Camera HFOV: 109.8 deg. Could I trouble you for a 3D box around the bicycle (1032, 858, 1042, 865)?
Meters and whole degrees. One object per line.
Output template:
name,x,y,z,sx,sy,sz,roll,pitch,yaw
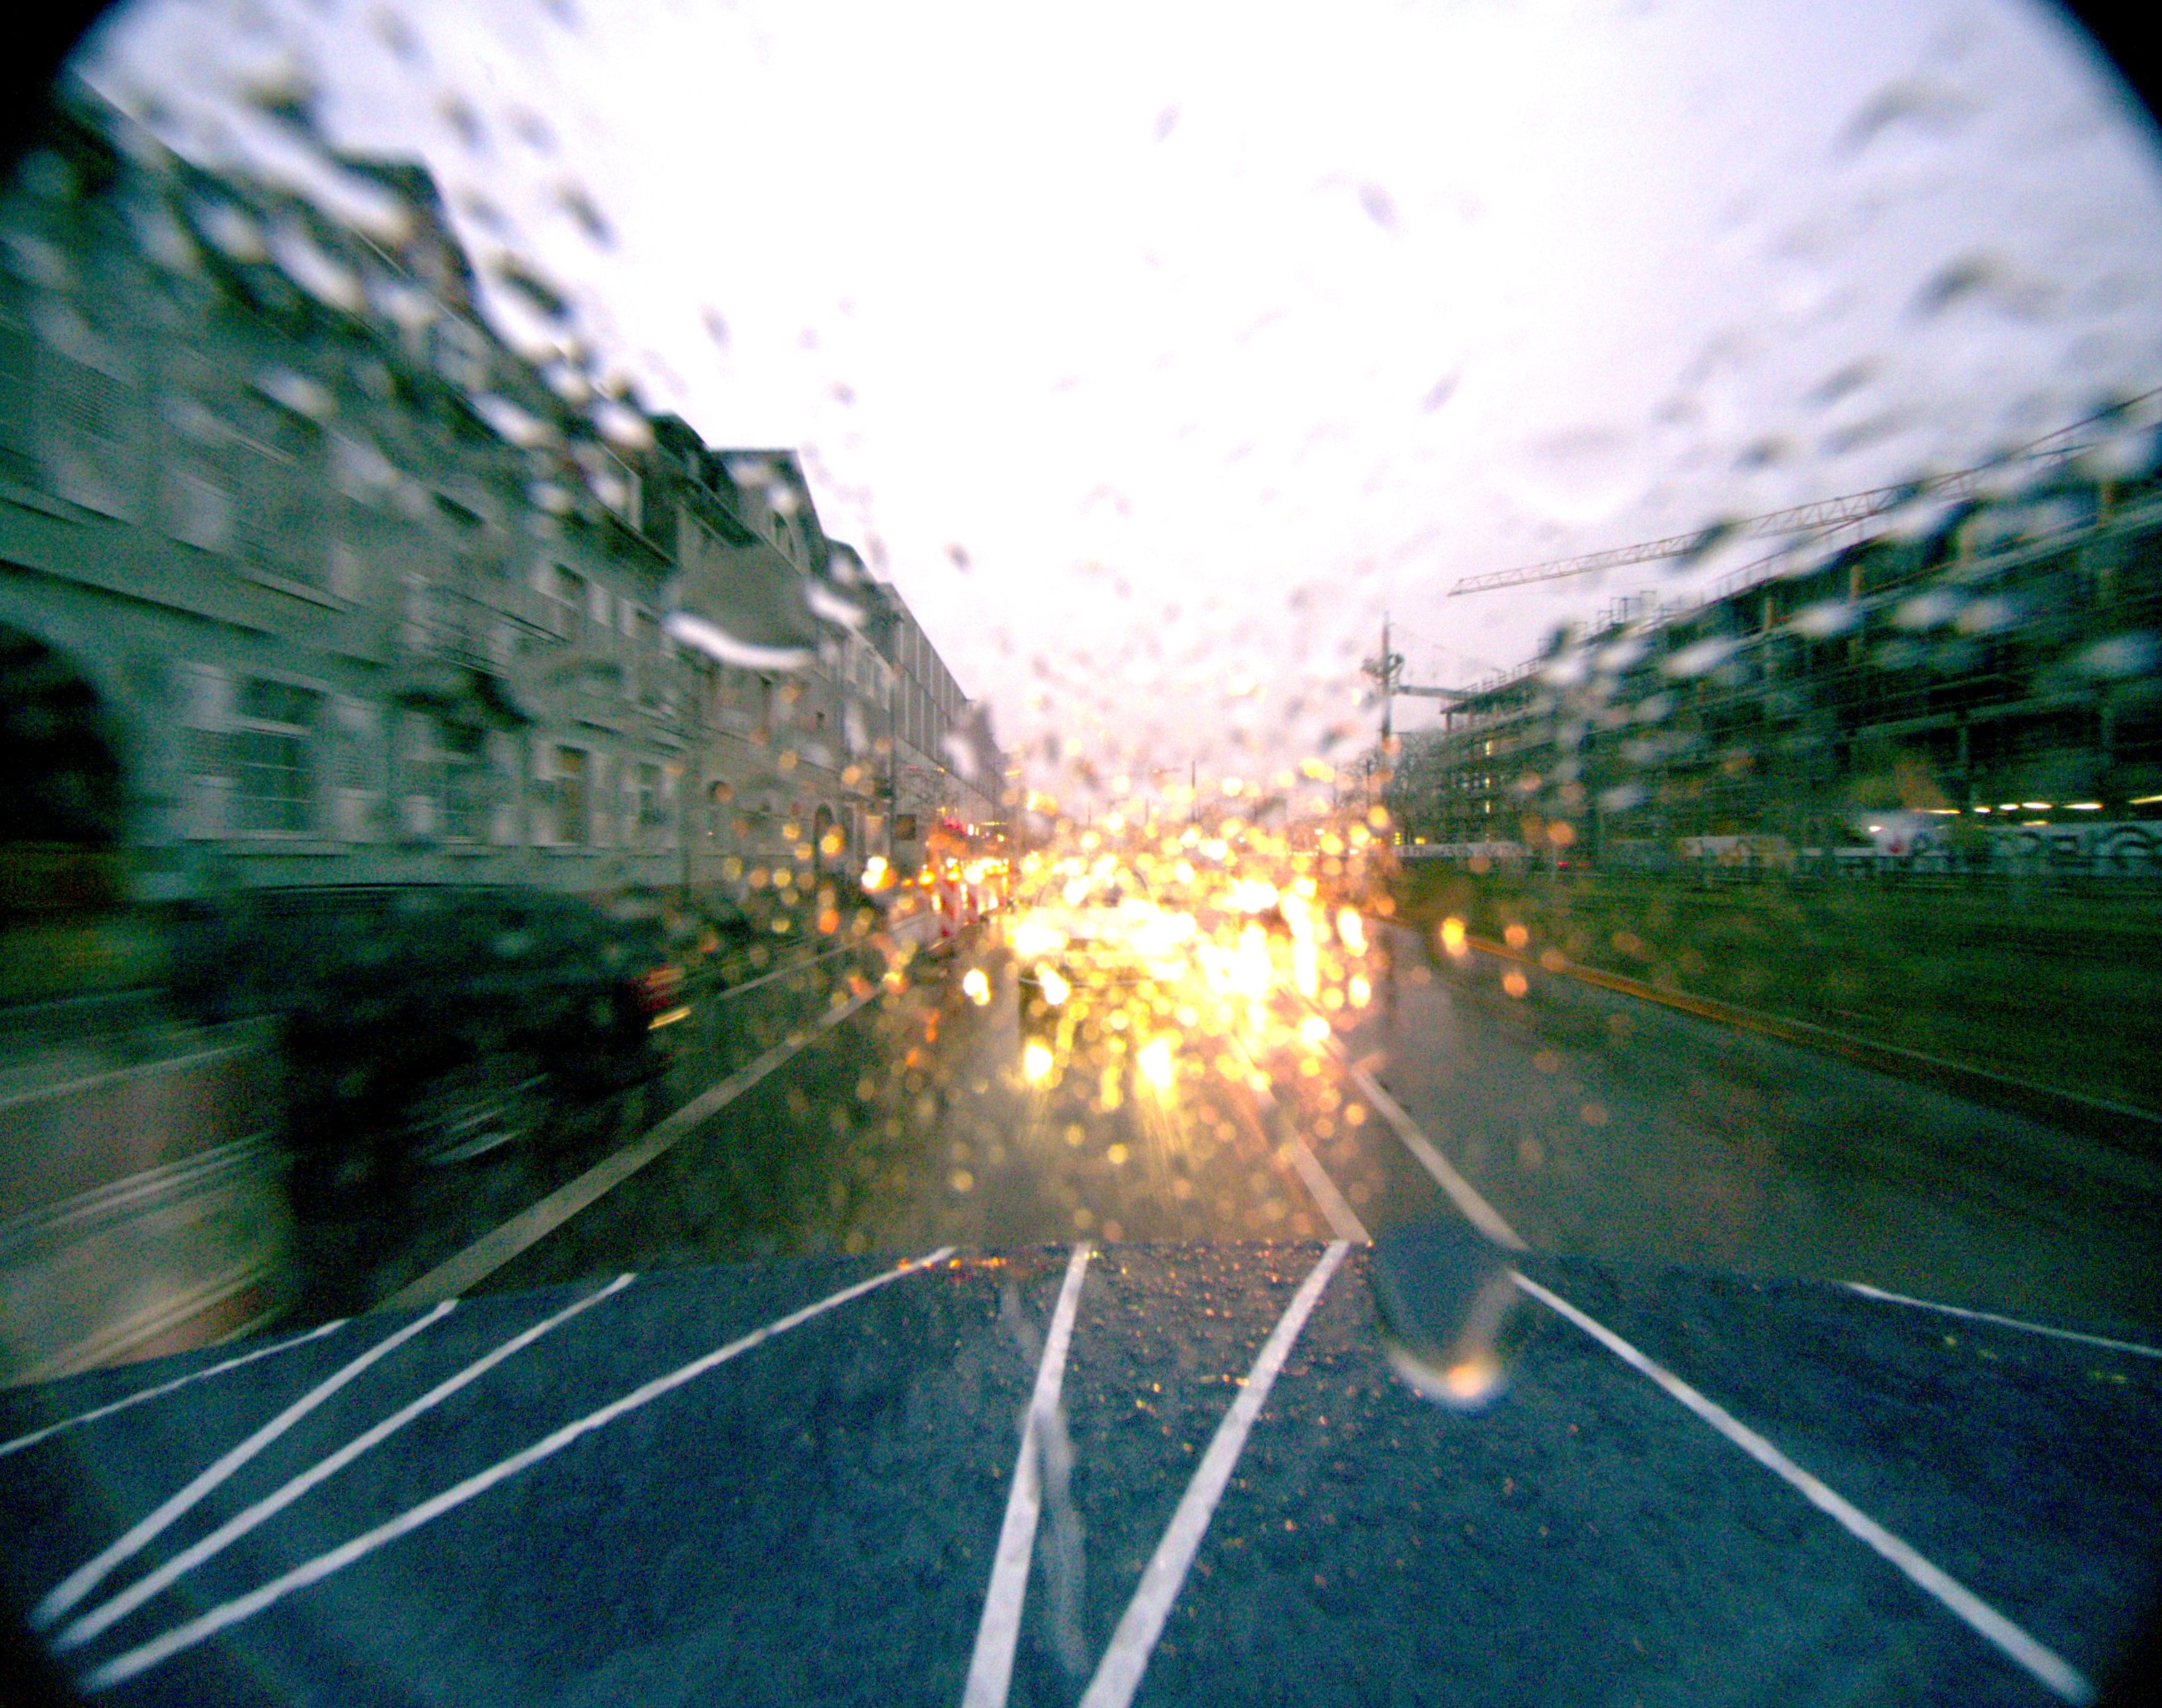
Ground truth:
bicycle,-7.999,1.383,137.841,1.908,1.168,0.666,1,0,-1

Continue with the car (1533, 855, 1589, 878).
car,35.184,0.922,55.780,1.758,1.652,3.764,-1,-1,1

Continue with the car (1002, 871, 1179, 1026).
car,0.136,1.040,10.008,1.814,1.464,4.139,-2,0,1

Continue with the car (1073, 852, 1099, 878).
car,0.376,0.826,57.745,1.865,1.867,4.000,-2,0,0

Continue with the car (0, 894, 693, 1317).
car,-4.565,1.113,4.101,4.102,1.509,1.903,-2,0,-37

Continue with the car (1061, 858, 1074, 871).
car,-1.954,1.491,109.460,1.868,1.652,3.986,-1,0,-1

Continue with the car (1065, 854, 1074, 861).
car,-2.754,0.875,182.352,1.868,1.652,3.986,-1,0,-1

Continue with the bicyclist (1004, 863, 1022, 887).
bicyclist,-4.206,1.317,47.263,0.945,1.454,1.066,-2,1,0

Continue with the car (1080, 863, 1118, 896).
car,1.014,1.418,43.785,1.998,1.673,4.000,-2,0,1

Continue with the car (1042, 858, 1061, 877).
car,-3.275,1.452,84.481,1.999,2.002,3.999,-1,0,-1

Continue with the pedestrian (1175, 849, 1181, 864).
pedestrian,11.282,0.301,88.302,0.585,1.692,0.741,-2,1,10

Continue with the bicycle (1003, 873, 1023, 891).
bicycle,-4.222,1.715,47.398,0.945,0.993,2.240,-2,0,1

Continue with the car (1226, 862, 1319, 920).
car,5.216,0.955,21.243,1.809,1.444,4.005,0,0,3

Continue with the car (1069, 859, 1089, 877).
car,-0.220,1.401,76.104,1.868,1.652,3.986,-1,0,-1
